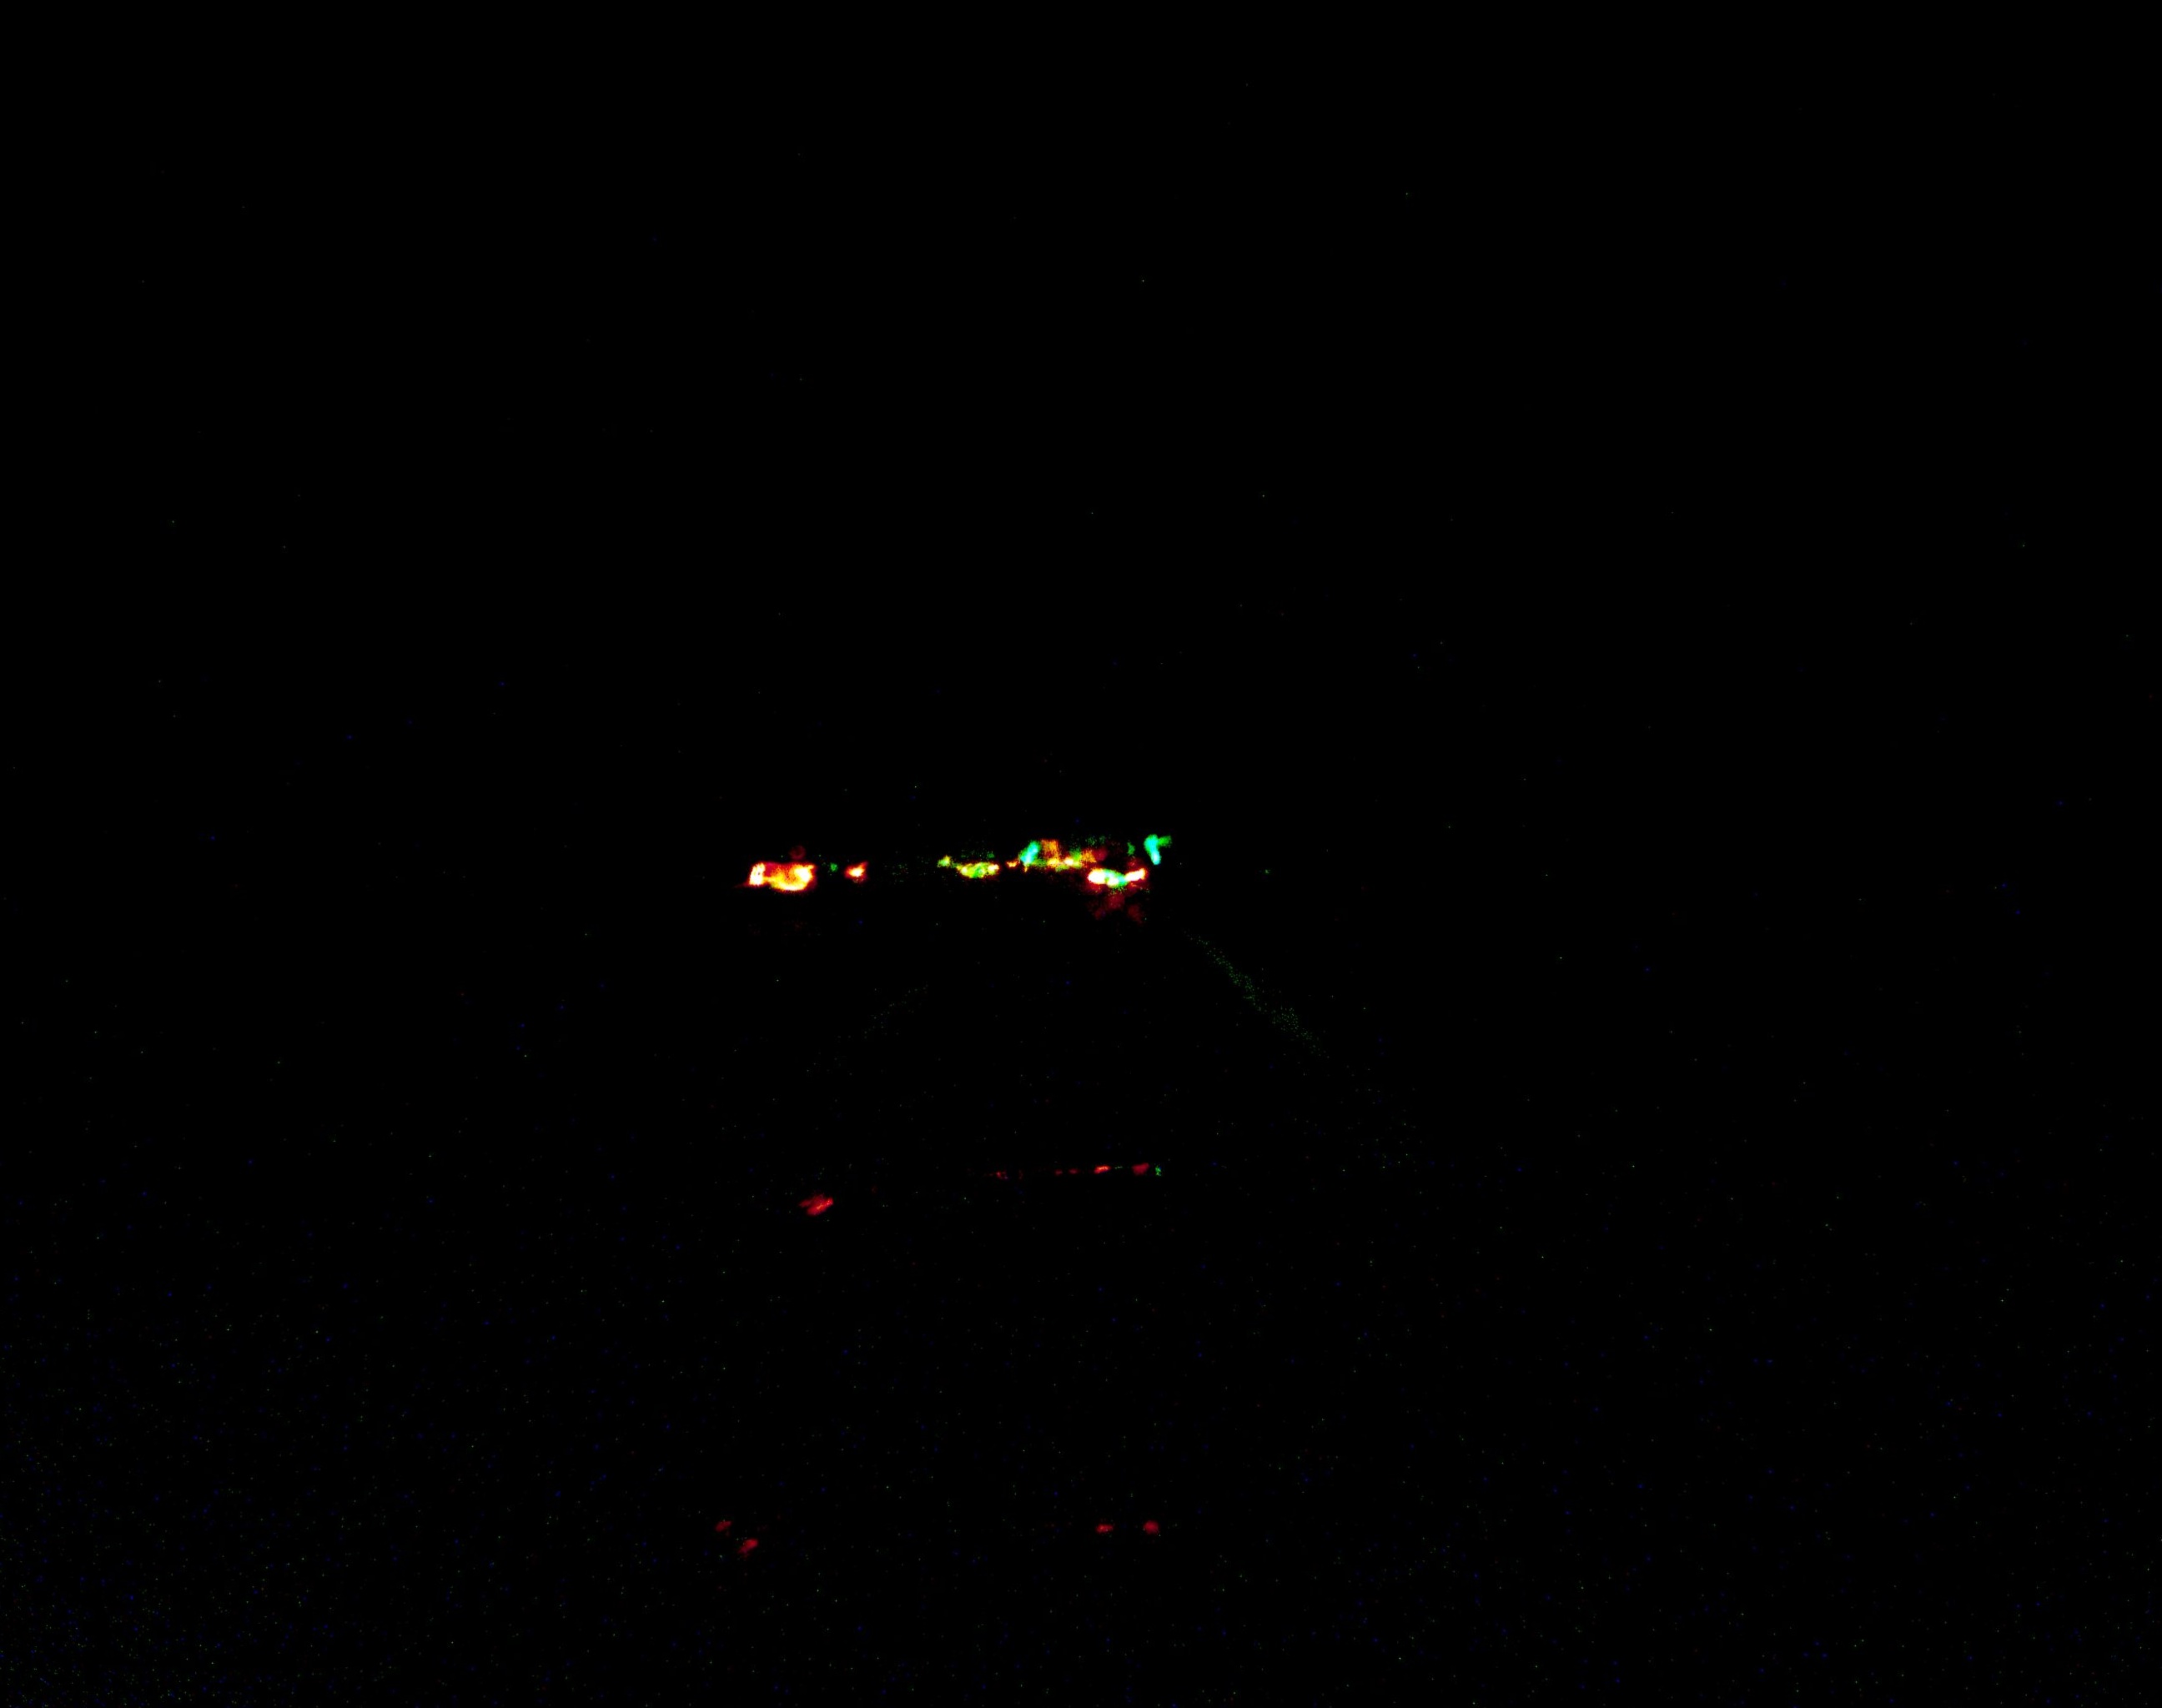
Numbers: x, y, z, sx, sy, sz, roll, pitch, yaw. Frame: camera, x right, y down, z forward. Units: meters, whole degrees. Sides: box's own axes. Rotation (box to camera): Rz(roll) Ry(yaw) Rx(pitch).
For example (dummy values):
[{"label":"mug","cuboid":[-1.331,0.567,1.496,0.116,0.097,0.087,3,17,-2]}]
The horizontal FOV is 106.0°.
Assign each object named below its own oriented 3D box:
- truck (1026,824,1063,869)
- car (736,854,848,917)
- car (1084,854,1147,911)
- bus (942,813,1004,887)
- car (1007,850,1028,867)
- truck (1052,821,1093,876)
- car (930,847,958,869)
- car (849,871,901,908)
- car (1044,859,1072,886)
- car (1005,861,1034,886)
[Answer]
[{"label":"truck","cuboid":[-4.668,-0.908,107.435,4.196,5.648,11.468,0,-1,1]},{"label":"car","cuboid":[-7.915,0.824,22.729,1.990,1.596,3.993,0,-1,-5]},{"label":"car","cuboid":[1.141,0.919,27.672,1.986,1.807,4.001,0,-1,1]},{"label":"bus","cuboid":[-7.092,-0.176,55.191,3.089,4.508,10.904,0,-1,-2]},{"label":"car","cuboid":[-6.723,0.494,85.956,1.988,1.807,3.997,0,-1,-2]},{"label":"truck","cuboid":[-0.764,-0.521,89.408,4.196,5.648,11.468,0,-1,1]},{"label":"car","cuboid":[-11.263,0.353,67.098,1.990,1.794,3.993,0,-1,-5]},{"label":"car","cuboid":[-9.760,1.654,38.825,1.690,1.650,3.836,0,-1,-3]},{"label":"car","cuboid":[-1.778,1.405,63.846,2.120,2.014,4.643,0,-1,-1]},{"label":"car","cuboid":[-4.529,1.438,60.616,1.988,1.807,3.997,0,-1,-2]}]
